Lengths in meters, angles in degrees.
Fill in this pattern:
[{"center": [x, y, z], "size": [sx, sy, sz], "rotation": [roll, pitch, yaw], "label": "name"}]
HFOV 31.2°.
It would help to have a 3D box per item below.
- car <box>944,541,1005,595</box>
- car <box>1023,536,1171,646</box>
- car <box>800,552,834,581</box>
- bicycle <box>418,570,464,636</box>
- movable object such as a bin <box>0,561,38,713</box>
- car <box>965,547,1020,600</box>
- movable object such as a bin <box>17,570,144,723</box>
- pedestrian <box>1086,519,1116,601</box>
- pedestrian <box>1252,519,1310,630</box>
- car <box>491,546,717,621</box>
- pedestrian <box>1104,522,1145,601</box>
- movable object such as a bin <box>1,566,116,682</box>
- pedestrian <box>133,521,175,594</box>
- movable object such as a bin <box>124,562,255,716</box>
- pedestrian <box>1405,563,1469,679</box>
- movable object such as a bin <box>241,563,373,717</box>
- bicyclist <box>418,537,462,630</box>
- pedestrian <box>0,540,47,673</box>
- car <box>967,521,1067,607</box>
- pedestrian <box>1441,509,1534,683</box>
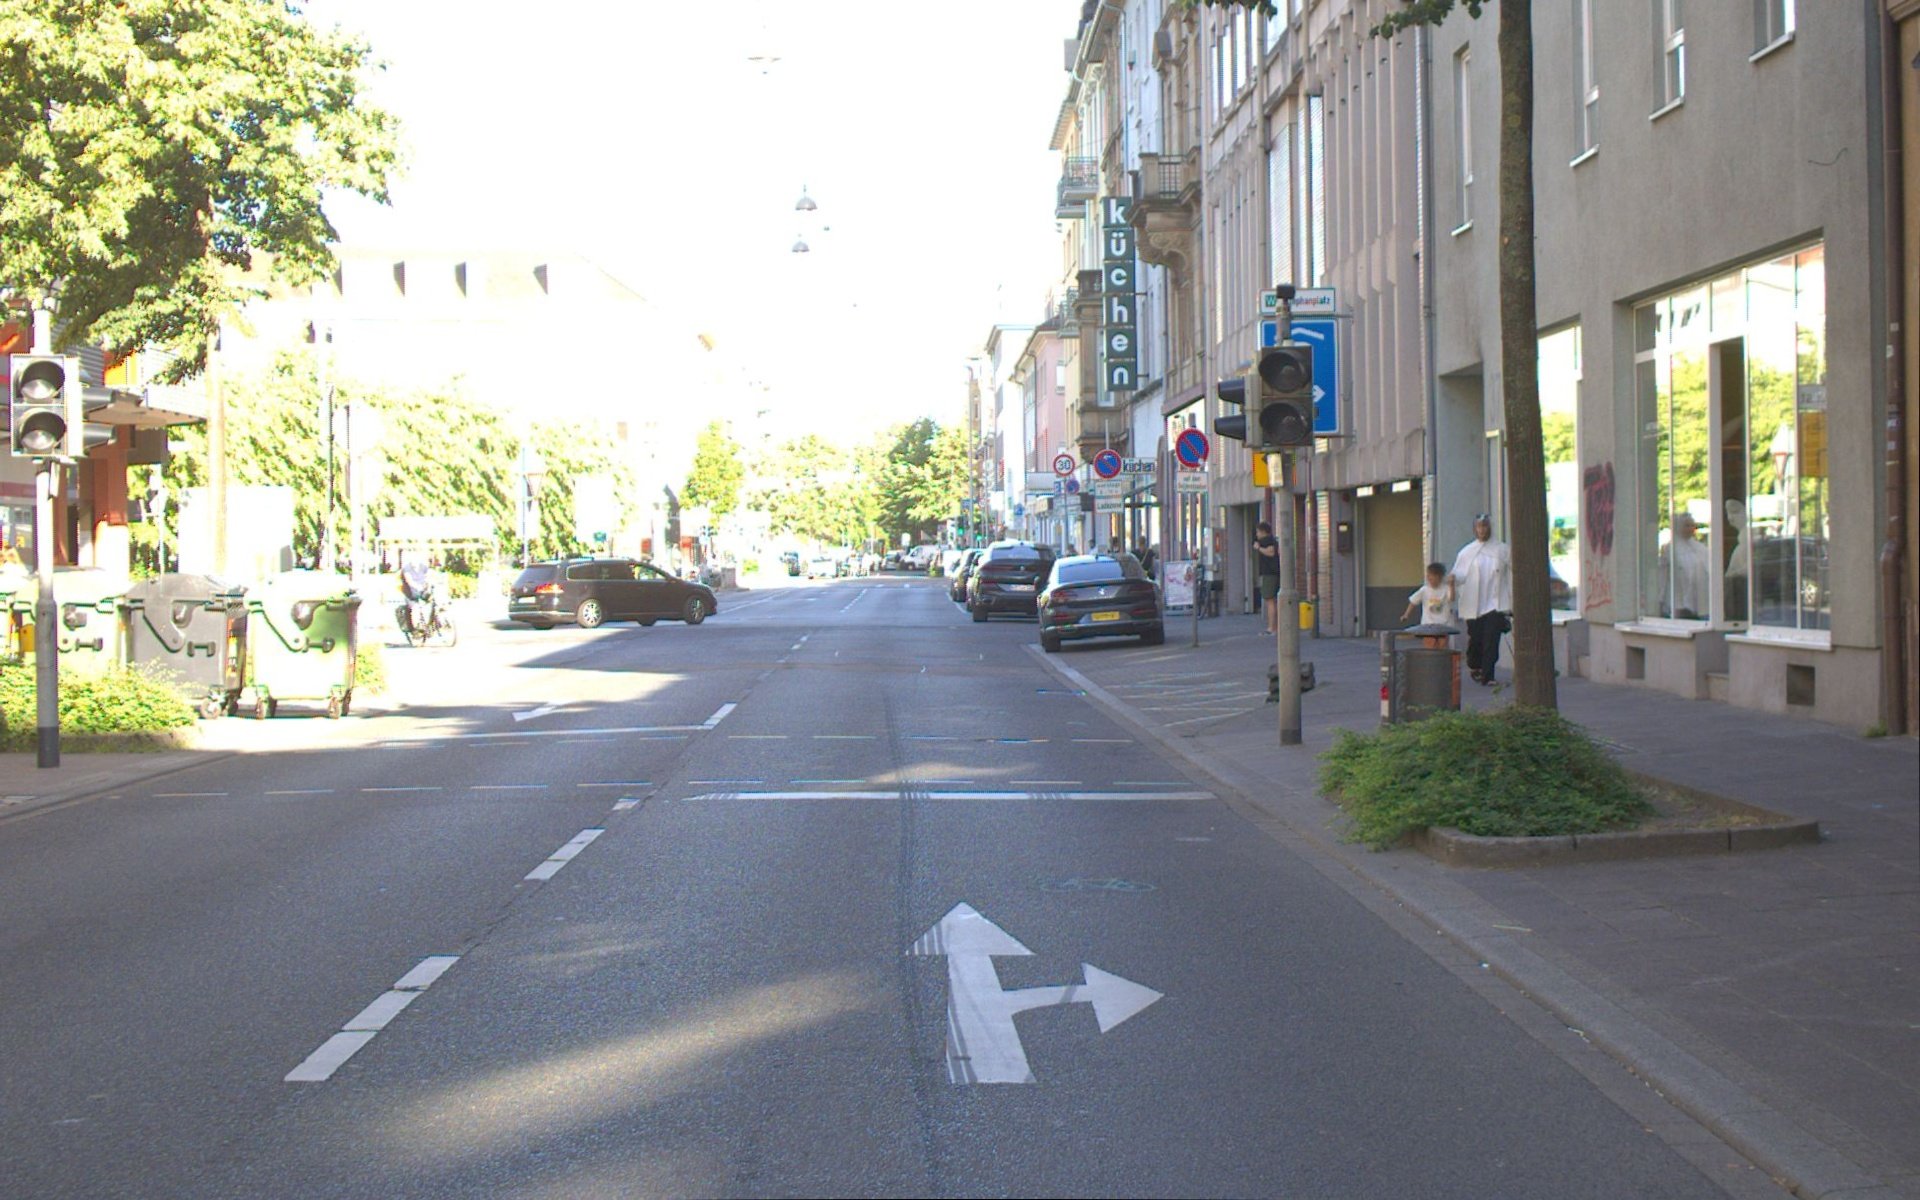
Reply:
[{"center": [0.441, -0.994, 108.541], "size": [1.716, 1.630, 4.085], "rotation": [1, 0, -3], "label": "car"}, {"center": [2.065, -0.175, 53.141], "size": [1.917, 1.473, 4.965], "rotation": [-4, 1, -1], "label": "car"}, {"center": [-9.294, -2.175, 223.753], "size": [1.993, 1.766, 4.000], "rotation": [0, 2, 0], "label": "car"}, {"center": [-9.344, 0.047, 61.937], "size": [0.705, 1.142, 1.968], "rotation": [-1, 1, -6], "label": "bicycle"}, {"center": [-9.761, 0.361, 33.892], "size": [1.042, 1.466, 1.143], "rotation": [-1, 1, -2], "label": "movable object such as a bin"}, {"center": [0.970, -0.816, 103.149], "size": [1.613, 1.541, 2.855], "rotation": [1, 1, 0], "label": "car"}, {"center": [-8.670, 0.447, 33.939], "size": [0.964, 1.466, 1.143], "rotation": [-1, 1, -2], "label": "movable object such as a bin"}, {"center": [3.048, -0.876, 74.407], "size": [0.620, 1.760, 0.518], "rotation": [-1, 1, 2], "label": "pedestrian"}, {"center": [4.839, -0.394, 51.919], "size": [0.691, 1.630, 0.889], "rotation": [-3, 1, -1], "label": "pedestrian"}, {"center": [-7.280, -0.357, 70.503], "size": [4.259, 1.482, 1.940], "rotation": [-1, 1, -41], "label": "car"}, {"center": [3.552, -0.843, 74.393], "size": [0.801, 1.669, 0.589], "rotation": [-2, 1, 2], "label": "pedestrian"}, {"center": [-10.772, 0.274, 41.108], "size": [1.042, 1.340, 1.314], "rotation": [-1, 1, -2], "label": "movable object such as a bin"}, {"center": [-23.278, -1.230, 99.299], "size": [0.733, 2.101, 0.966], "rotation": [0, 1, 22], "label": "pedestrian"}, {"center": [-7.598, 0.375, 33.965], "size": [1.042, 1.466, 1.143], "rotation": [-1, 1, -2], "label": "movable object such as a bin"}, {"center": [4.392, 0.189, 31.669], "size": [0.393, 1.030, 0.740], "rotation": [-4, 1, -2], "label": "pedestrian"}, {"center": [-6.442, 0.382, 34.003], "size": [1.042, 1.466, 1.453], "rotation": [-1, 1, -2], "label": "movable object such as a bin"}, {"center": [-9.332, -0.306, 61.747], "size": [0.696, 1.647, 1.036], "rotation": [-1, 1, -6], "label": "bicyclist"}, {"center": [-11.989, 0.069, 43.349], "size": [0.665, 1.653, 1.037], "rotation": [-1, 1, -1], "label": "pedestrian"}, {"center": [1.168, -0.788, 72.726], "size": [1.973, 1.719, 4.824], "rotation": [1, 1, -1], "label": "car"}, {"center": [4.881, -0.044, 31.877], "size": [0.580, 1.554, 1.021], "rotation": [-4, 1, -2], "label": "pedestrian"}]
